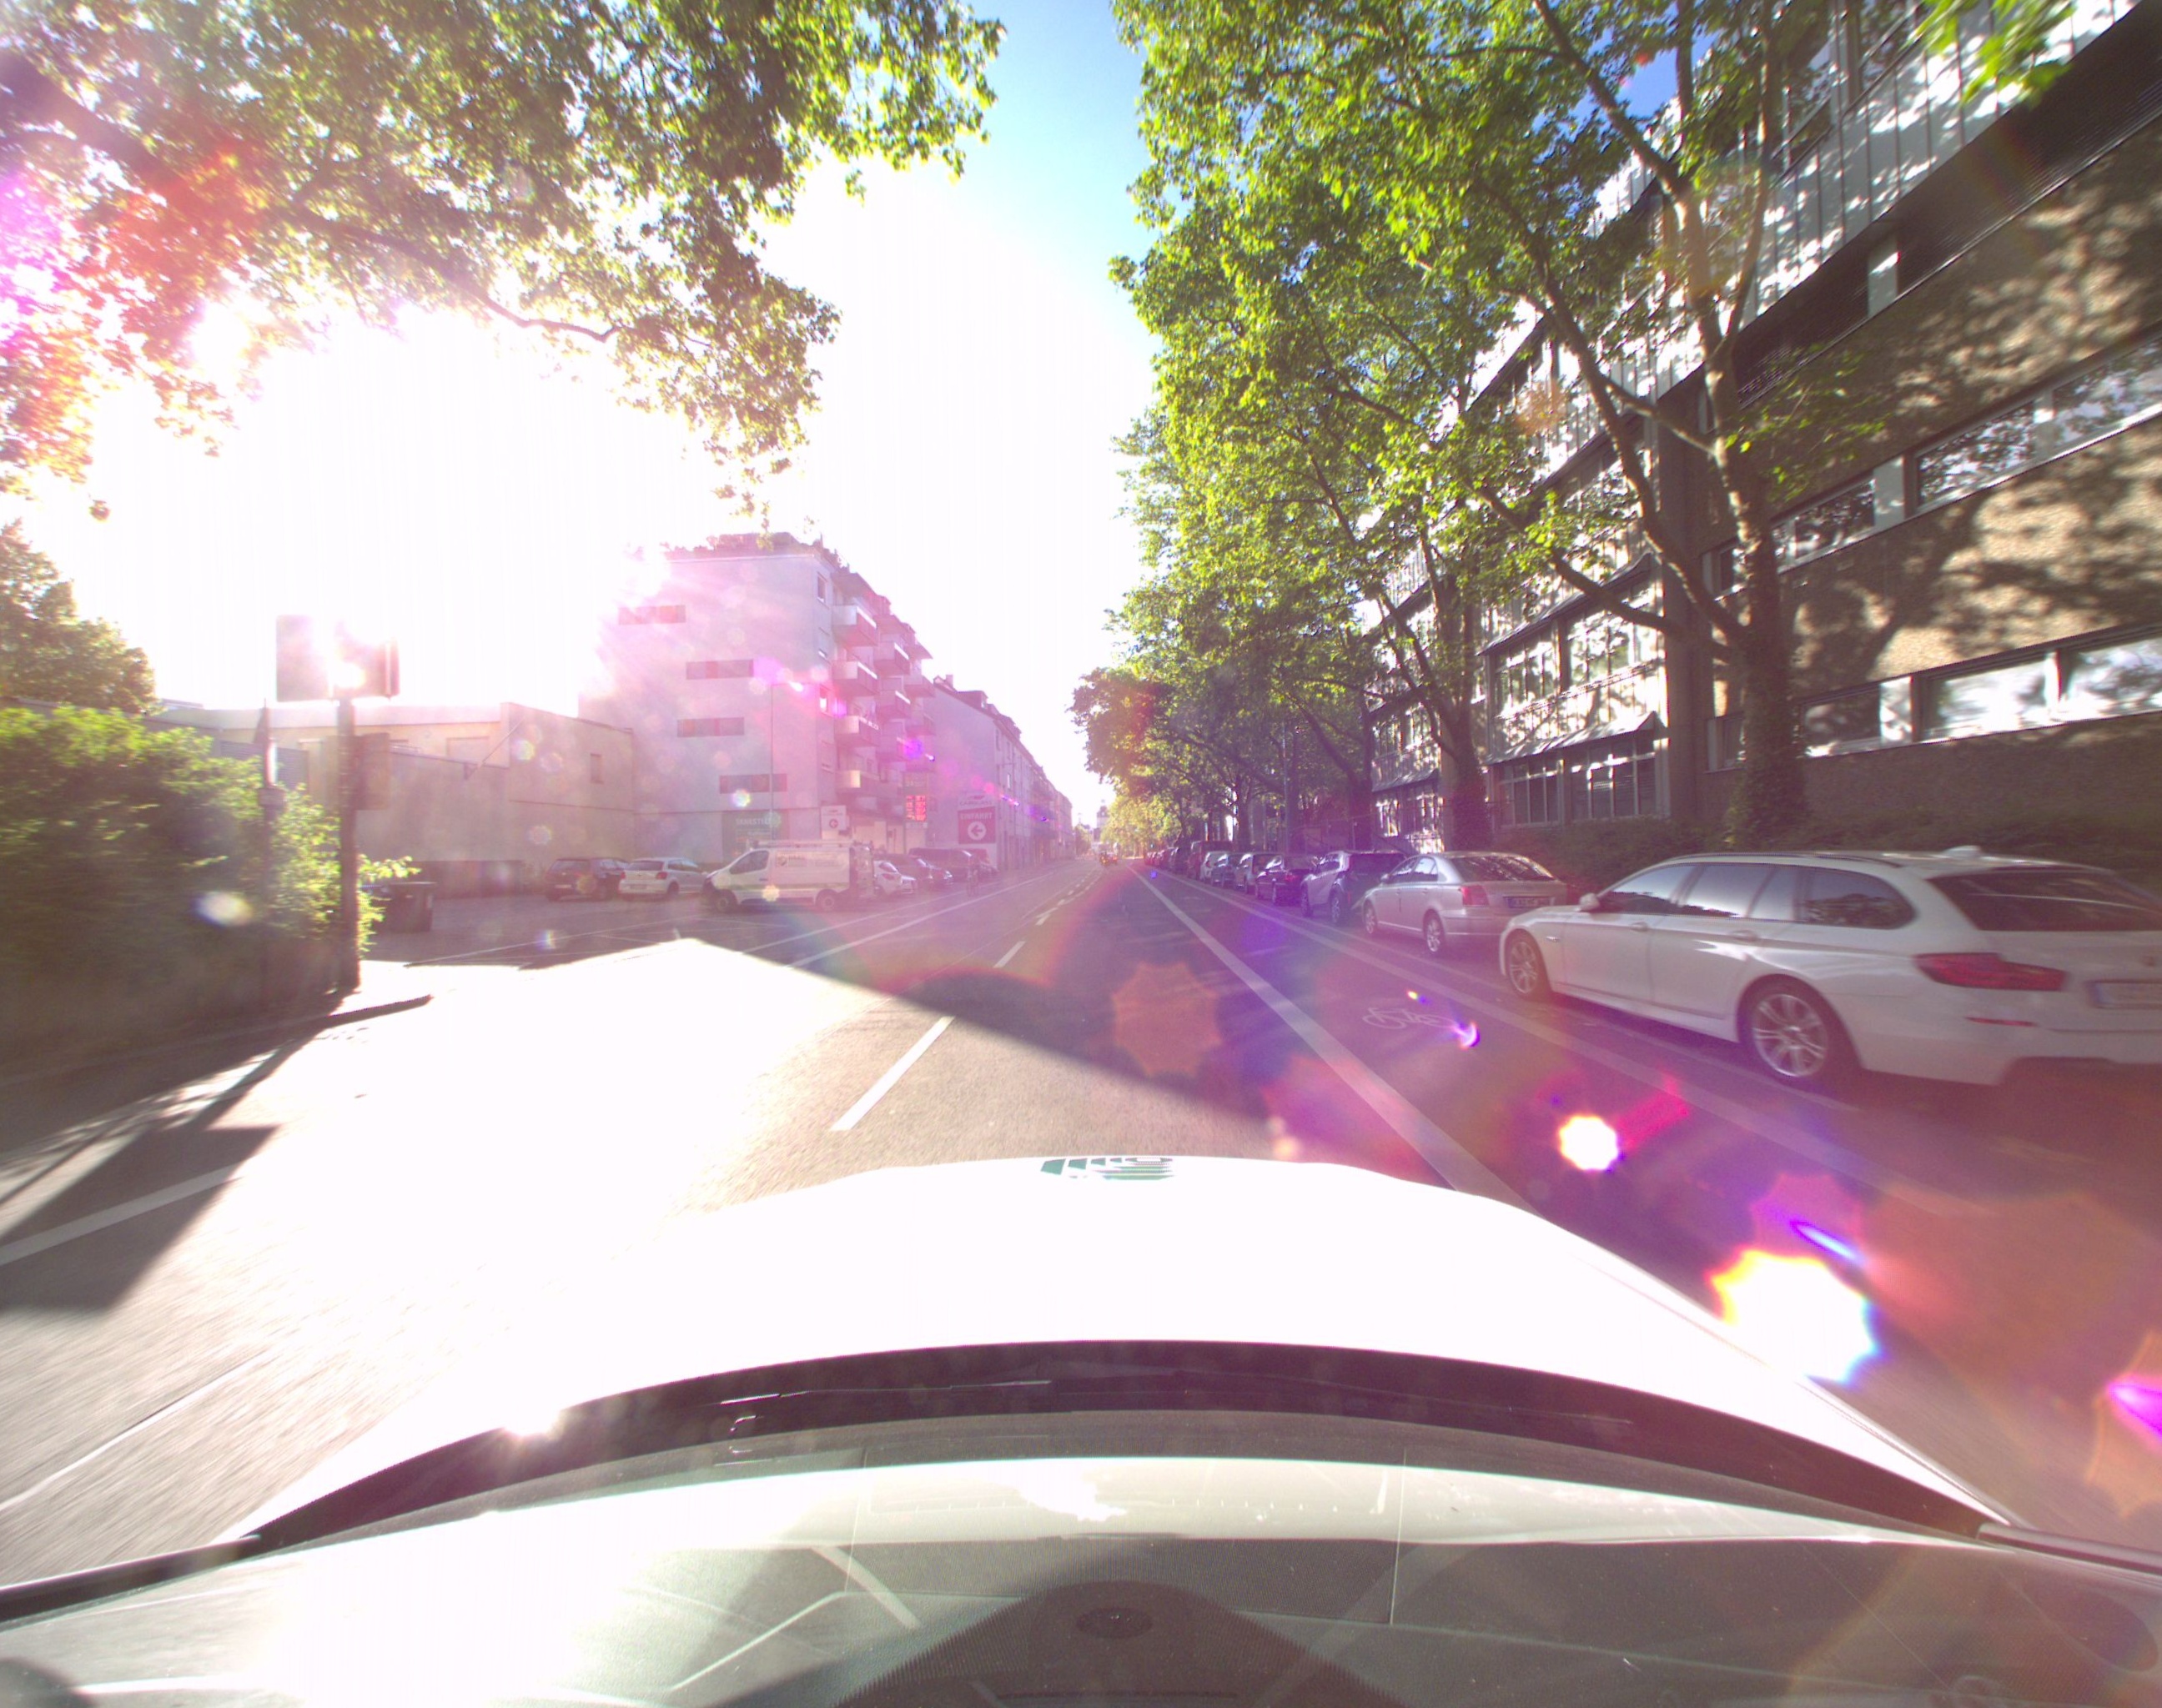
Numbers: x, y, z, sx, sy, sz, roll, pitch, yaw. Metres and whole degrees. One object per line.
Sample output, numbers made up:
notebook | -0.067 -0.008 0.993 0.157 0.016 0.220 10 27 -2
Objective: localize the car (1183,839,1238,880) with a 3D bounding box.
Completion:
car | 6.758 0.272 43.033 2.071 1.994 5.171 0 0 0

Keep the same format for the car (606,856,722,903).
car | -14.141 0.822 27.896 1.783 1.464 4.002 0 0 2

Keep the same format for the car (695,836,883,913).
car | -8.634 0.579 24.444 4.826 2.216 2.141 0 0 1

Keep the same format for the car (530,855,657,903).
car | -16.373 0.795 27.613 1.783 1.464 4.002 1 0 2

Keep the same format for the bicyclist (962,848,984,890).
bicyclist | -4.142 0.568 31.370 0.604 1.544 0.934 -4 0 2

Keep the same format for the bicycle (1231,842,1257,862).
bicycle | 17.194 -0.230 85.948 2.588 2.013 0.743 -2 0 1

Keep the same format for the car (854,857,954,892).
car | -7.879 0.896 36.489 3.972 1.456 1.917 0 0 1

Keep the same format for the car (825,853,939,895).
car | -8.184 0.807 33.763 4.178 1.684 2.029 0 0 1

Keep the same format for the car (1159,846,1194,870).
car | 7.656 0.309 65.706 1.822 1.841 4.888 0 0 -6

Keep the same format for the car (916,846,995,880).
car | -7.618 0.549 49.649 4.404 1.951 2.147 1 0 2

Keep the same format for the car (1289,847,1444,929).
car | 5.854 0.629 17.278 1.848 1.522 4.298 0 0 1

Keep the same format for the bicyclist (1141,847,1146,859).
bicyclist | 7.901 -0.149 102.931 0.654 1.530 0.852 0 -1 1

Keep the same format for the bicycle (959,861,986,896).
bicycle | -4.142 0.913 31.211 0.604 1.239 2.050 -4 0 2

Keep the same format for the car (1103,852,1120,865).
car | 3.537 0.510 94.608 1.822 1.420 3.816 -1 0 1

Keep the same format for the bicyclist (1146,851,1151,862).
bicyclist | 9.268 0.382 111.708 0.654 1.530 0.906 0 -1 1

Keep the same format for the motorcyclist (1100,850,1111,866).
motorcyclist | 2.450 0.386 81.514 1.008 1.602 1.406 -2 0 1

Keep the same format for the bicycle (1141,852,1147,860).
bicycle | 7.904 0.264 102.966 0.653 1.070 1.927 0 -1 1

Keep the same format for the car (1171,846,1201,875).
car | 6.953 0.406 54.063 1.686 1.813 4.133 0 0 3

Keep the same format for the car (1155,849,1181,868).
car | 7.558 0.391 71.128 1.770 1.628 4.620 0 0 0

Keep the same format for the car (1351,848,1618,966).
car | 5.749 0.656 12.363 1.848 1.436 4.603 -1 0 1

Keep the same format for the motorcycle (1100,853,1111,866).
motorcycle | 2.452 0.555 81.564 1.008 1.306 2.673 -2 0 1

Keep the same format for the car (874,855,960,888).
car | -7.778 0.800 38.765 3.672 1.513 1.831 0 0 1

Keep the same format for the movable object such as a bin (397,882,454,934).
movable object such as a bin | -14.028 1.149 17.454 0.526 1.044 0.835 1 0 2

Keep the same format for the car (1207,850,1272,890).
car | 6.464 0.604 33.640 1.849 1.510 3.928 1 0 -1

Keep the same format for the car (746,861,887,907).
car | -8.606 0.960 26.753 3.972 1.433 1.853 0 0 1

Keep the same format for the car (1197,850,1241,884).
car | 6.421 0.564 38.240 1.630 1.485 3.763 0 0 3

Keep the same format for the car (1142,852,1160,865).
car | 8.270 0.537 96.122 1.687 1.449 4.435 0 0 0

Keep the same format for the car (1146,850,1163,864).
car | 8.197 0.317 91.085 1.686 1.466 4.068 0 0 3

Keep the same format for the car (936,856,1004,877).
car | -7.451 0.835 55.023 4.212 1.380 2.047 0 -1 2

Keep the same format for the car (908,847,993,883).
car | -7.449 0.611 46.794 4.505 1.951 2.058 1 0 2

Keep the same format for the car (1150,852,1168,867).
car | 8.156 0.590 85.450 1.686 1.479 4.320 0 0 2

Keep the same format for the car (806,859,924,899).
car | -8.191 0.918 31.115 3.972 1.433 1.854 0 0 1

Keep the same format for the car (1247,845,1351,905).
car | 6.069 0.526 23.250 1.848 1.522 4.600 0 0 1

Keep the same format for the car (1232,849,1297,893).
car | 6.521 0.558 29.227 1.608 1.475 3.493 0 0 1

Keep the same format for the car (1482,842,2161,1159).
car | 5.274 0.669 6.261 1.850 1.436 4.967 -1 0 -1

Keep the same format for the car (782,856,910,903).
car | -8.294 0.870 28.990 3.972 1.559 1.854 0 0 1
